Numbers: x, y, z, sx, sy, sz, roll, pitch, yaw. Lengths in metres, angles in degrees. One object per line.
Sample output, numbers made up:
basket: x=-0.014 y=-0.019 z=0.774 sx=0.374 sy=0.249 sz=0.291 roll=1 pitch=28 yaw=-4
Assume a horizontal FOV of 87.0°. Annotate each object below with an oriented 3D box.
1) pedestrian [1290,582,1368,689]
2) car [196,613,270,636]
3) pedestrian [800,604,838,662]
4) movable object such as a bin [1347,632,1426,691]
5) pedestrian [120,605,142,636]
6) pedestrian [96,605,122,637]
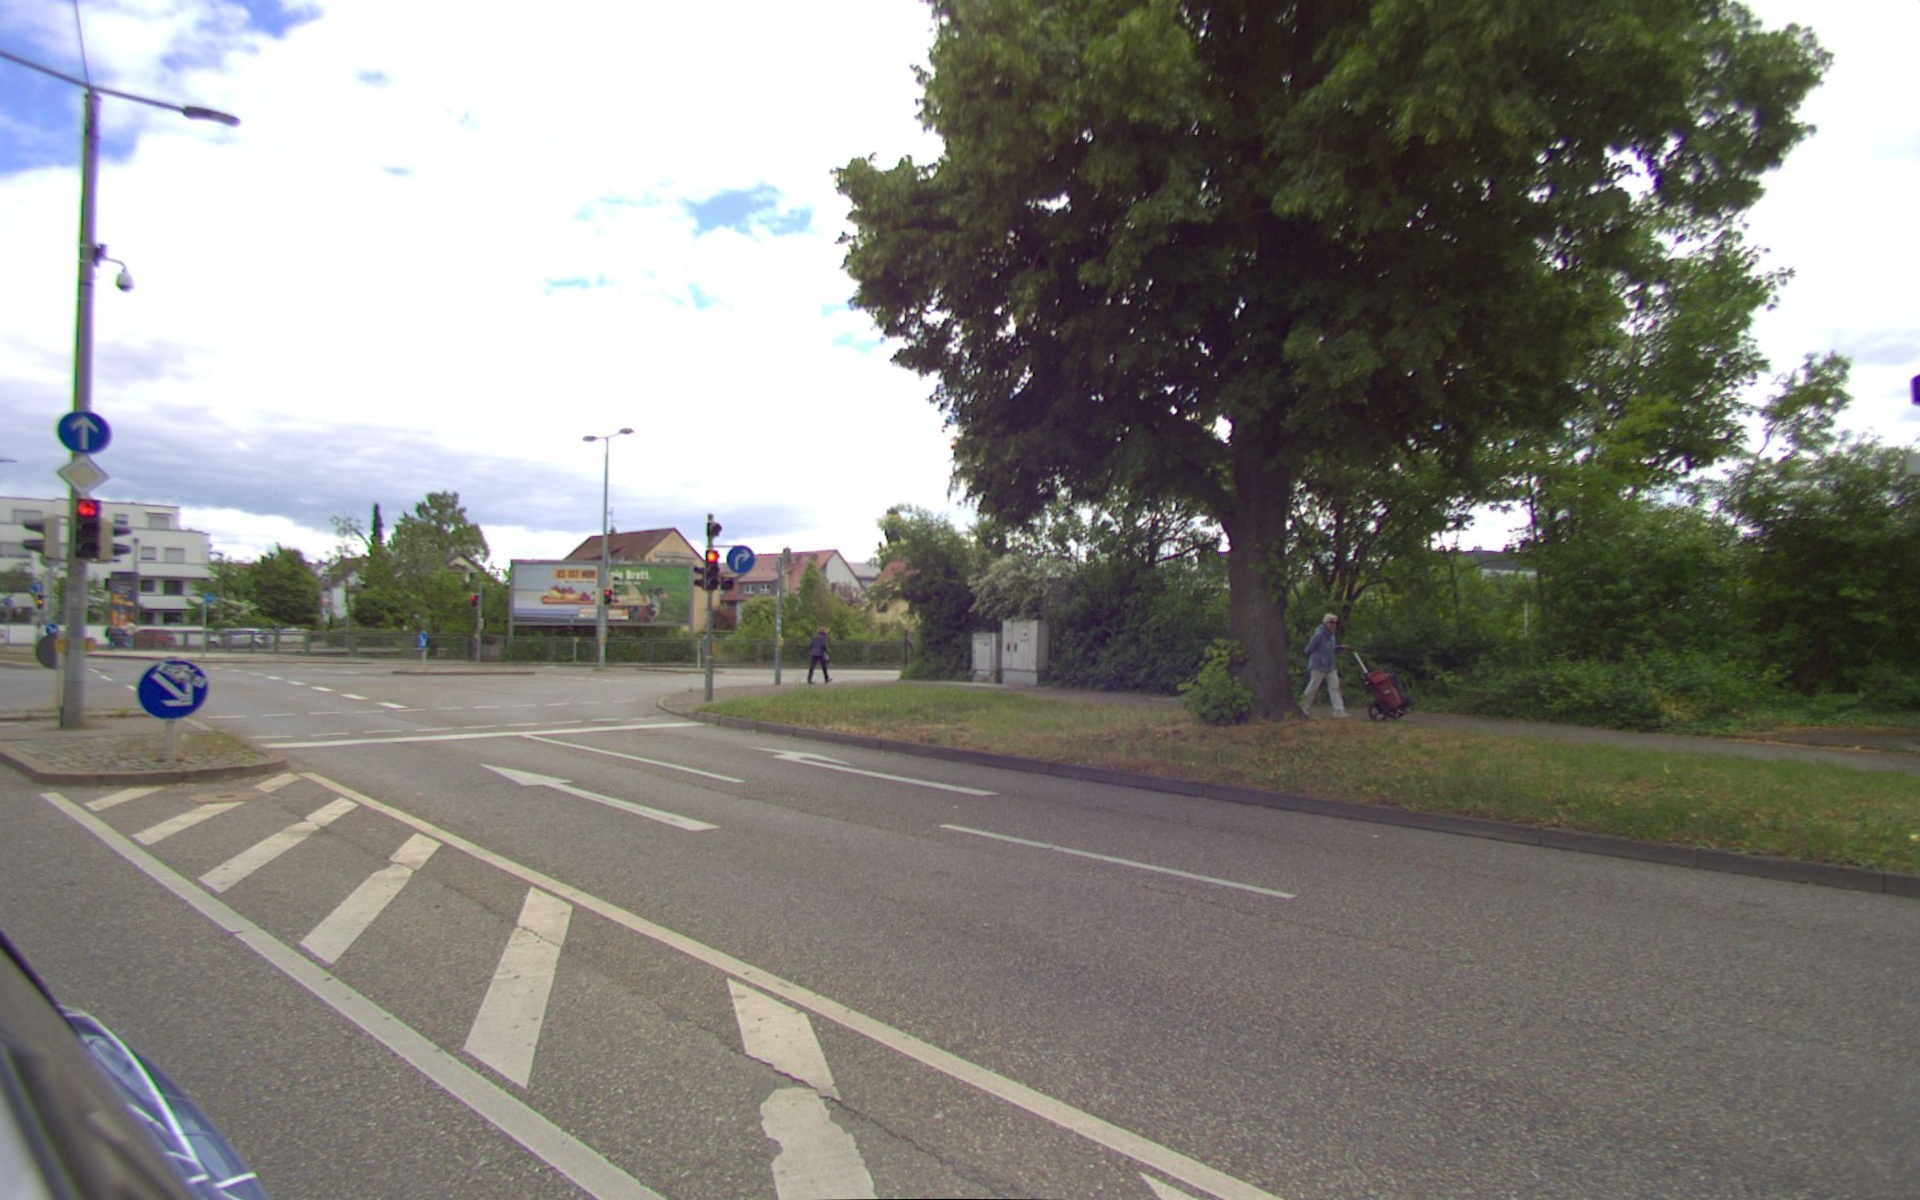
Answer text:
pedestrian: x=5.492 y=0.529 z=15.078 sx=0.923 sy=1.534 sz=0.649 roll=-1 pitch=-3 yaw=40
car: x=-53.848 y=1.819 z=75.019 sx=4.061 sy=1.547 sz=1.651 roll=2 pitch=-4 yaw=-13
pedestrian: x=-3.586 y=0.833 z=25.754 sx=0.598 sy=1.418 sz=0.768 roll=2 pitch=1 yaw=31
movable object such as a bin: x=6.121 y=0.870 z=14.532 sx=0.896 sy=0.804 sz=0.649 roll=-1 pitch=-3 yaw=40
pedestrian: x=-44.164 y=1.110 z=53.918 sx=0.828 sy=1.646 sz=0.652 roll=-1 pitch=-1 yaw=26
pedestrian: x=-44.670 y=1.085 z=53.109 sx=1.065 sy=1.646 sz=0.652 roll=-1 pitch=-1 yaw=26
